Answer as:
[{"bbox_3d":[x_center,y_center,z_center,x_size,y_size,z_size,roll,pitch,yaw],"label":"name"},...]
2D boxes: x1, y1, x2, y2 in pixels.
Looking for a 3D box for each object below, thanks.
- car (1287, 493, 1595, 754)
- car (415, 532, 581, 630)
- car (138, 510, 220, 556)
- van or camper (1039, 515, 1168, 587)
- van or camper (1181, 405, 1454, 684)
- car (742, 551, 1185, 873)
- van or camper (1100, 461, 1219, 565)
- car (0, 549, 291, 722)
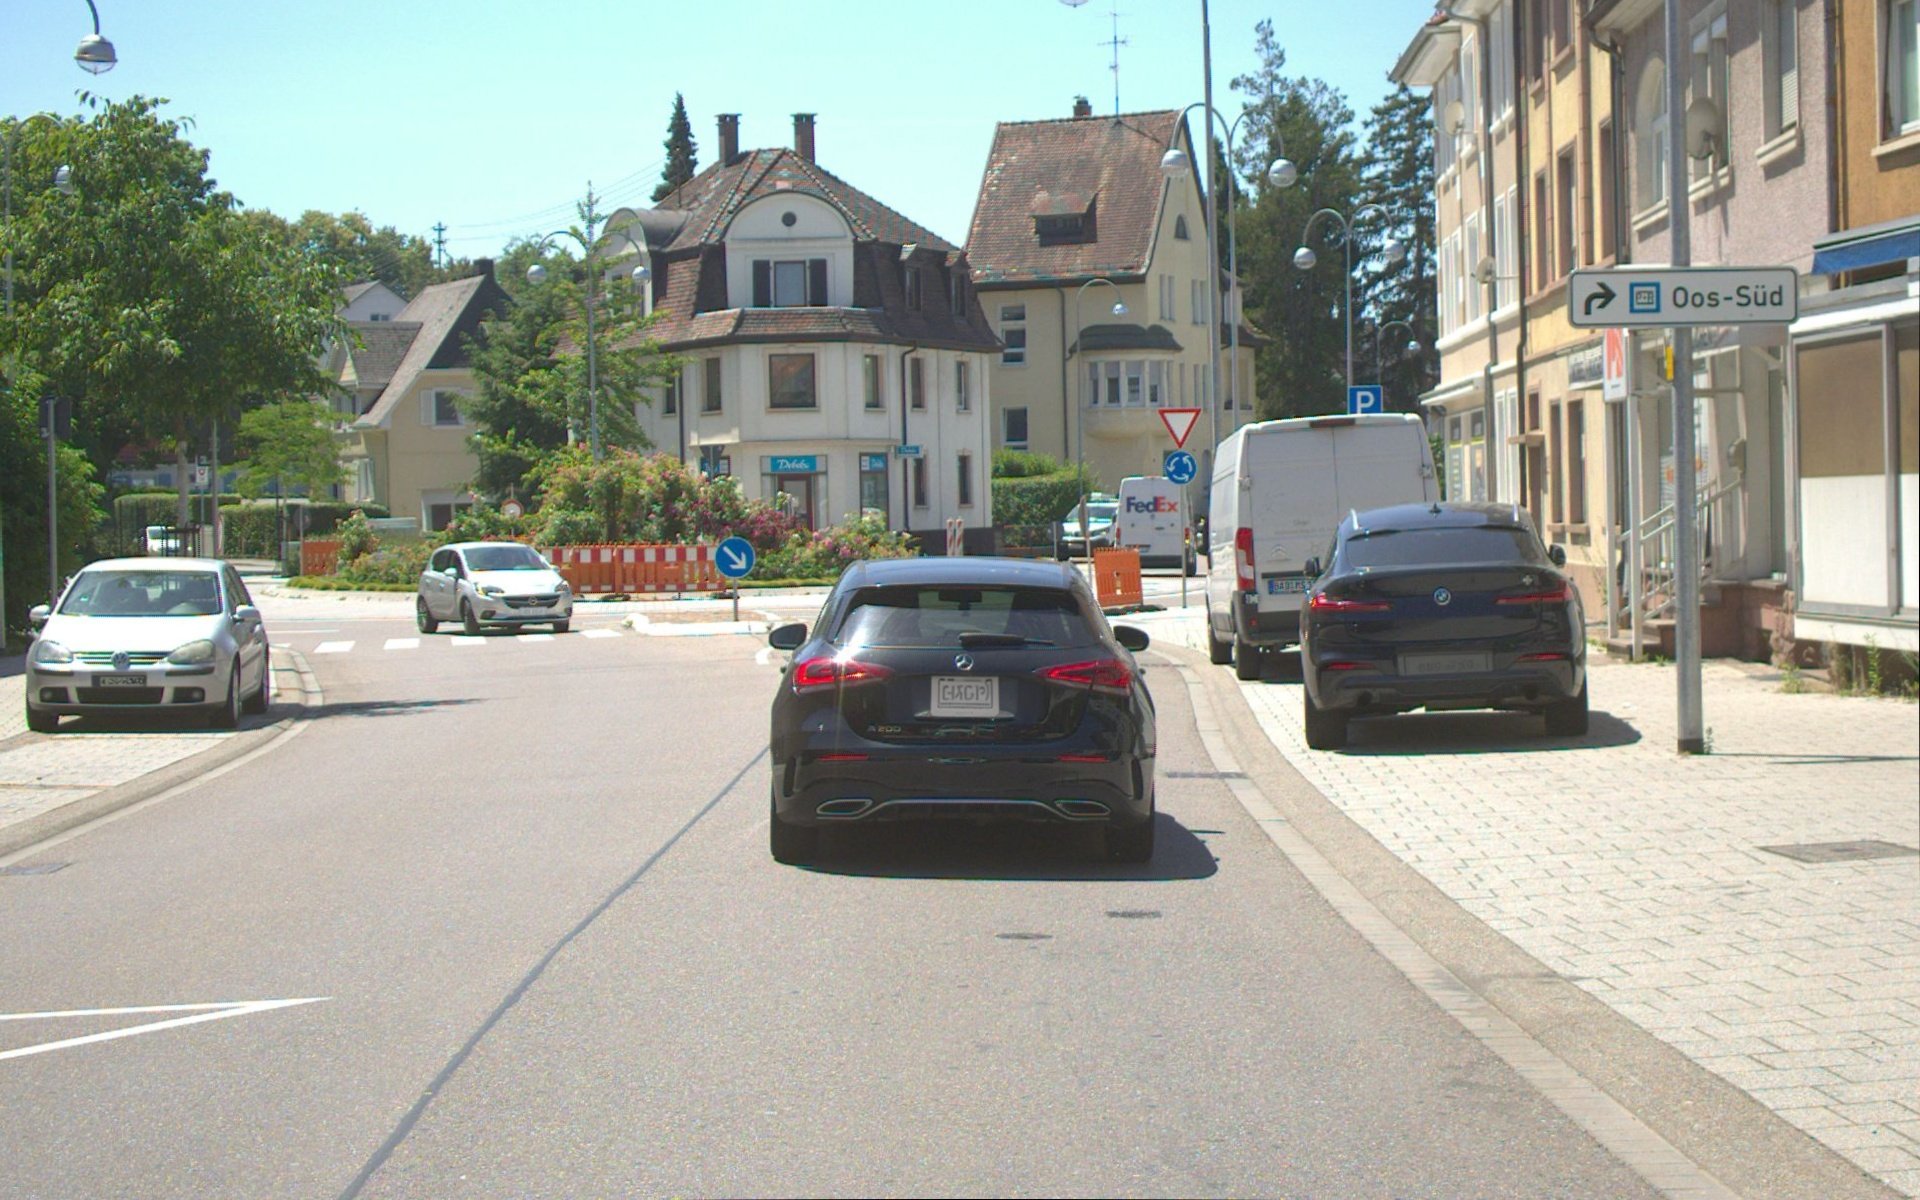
[{"bbox_3d":[3.381,0.111,24.325,1.896,1.602,4.363,-3,1,8],"label":"car"},{"bbox_3d":[-7.480,-0.320,55.433,1.659,1.491,3.760,-2,1,-23],"label":"car"},{"bbox_3d":[-29.711,-2.522,130.860,1.785,1.592,3.919,0,-1,8],"label":"car"},{"bbox_3d":[4.576,-1.531,108.768,1.996,2.164,5.405,1,0,26],"label":"van or camper"},{"bbox_3d":[3.591,-0.596,35.622,2.165,2.580,5.766,-2,1,0],"label":"van or camper"},{"bbox_3d":[-0.010,0.489,17.179,1.953,1.422,4.000,0,0,-1],"label":"car"},{"bbox_3d":[5.209,-2.262,89.258,2.207,2.601,3.997,0,2,17],"label":"van or camper"},{"bbox_3d":[-7.209,0.265,30.508,1.993,1.415,4.089,0,1,-4],"label":"car"}]
